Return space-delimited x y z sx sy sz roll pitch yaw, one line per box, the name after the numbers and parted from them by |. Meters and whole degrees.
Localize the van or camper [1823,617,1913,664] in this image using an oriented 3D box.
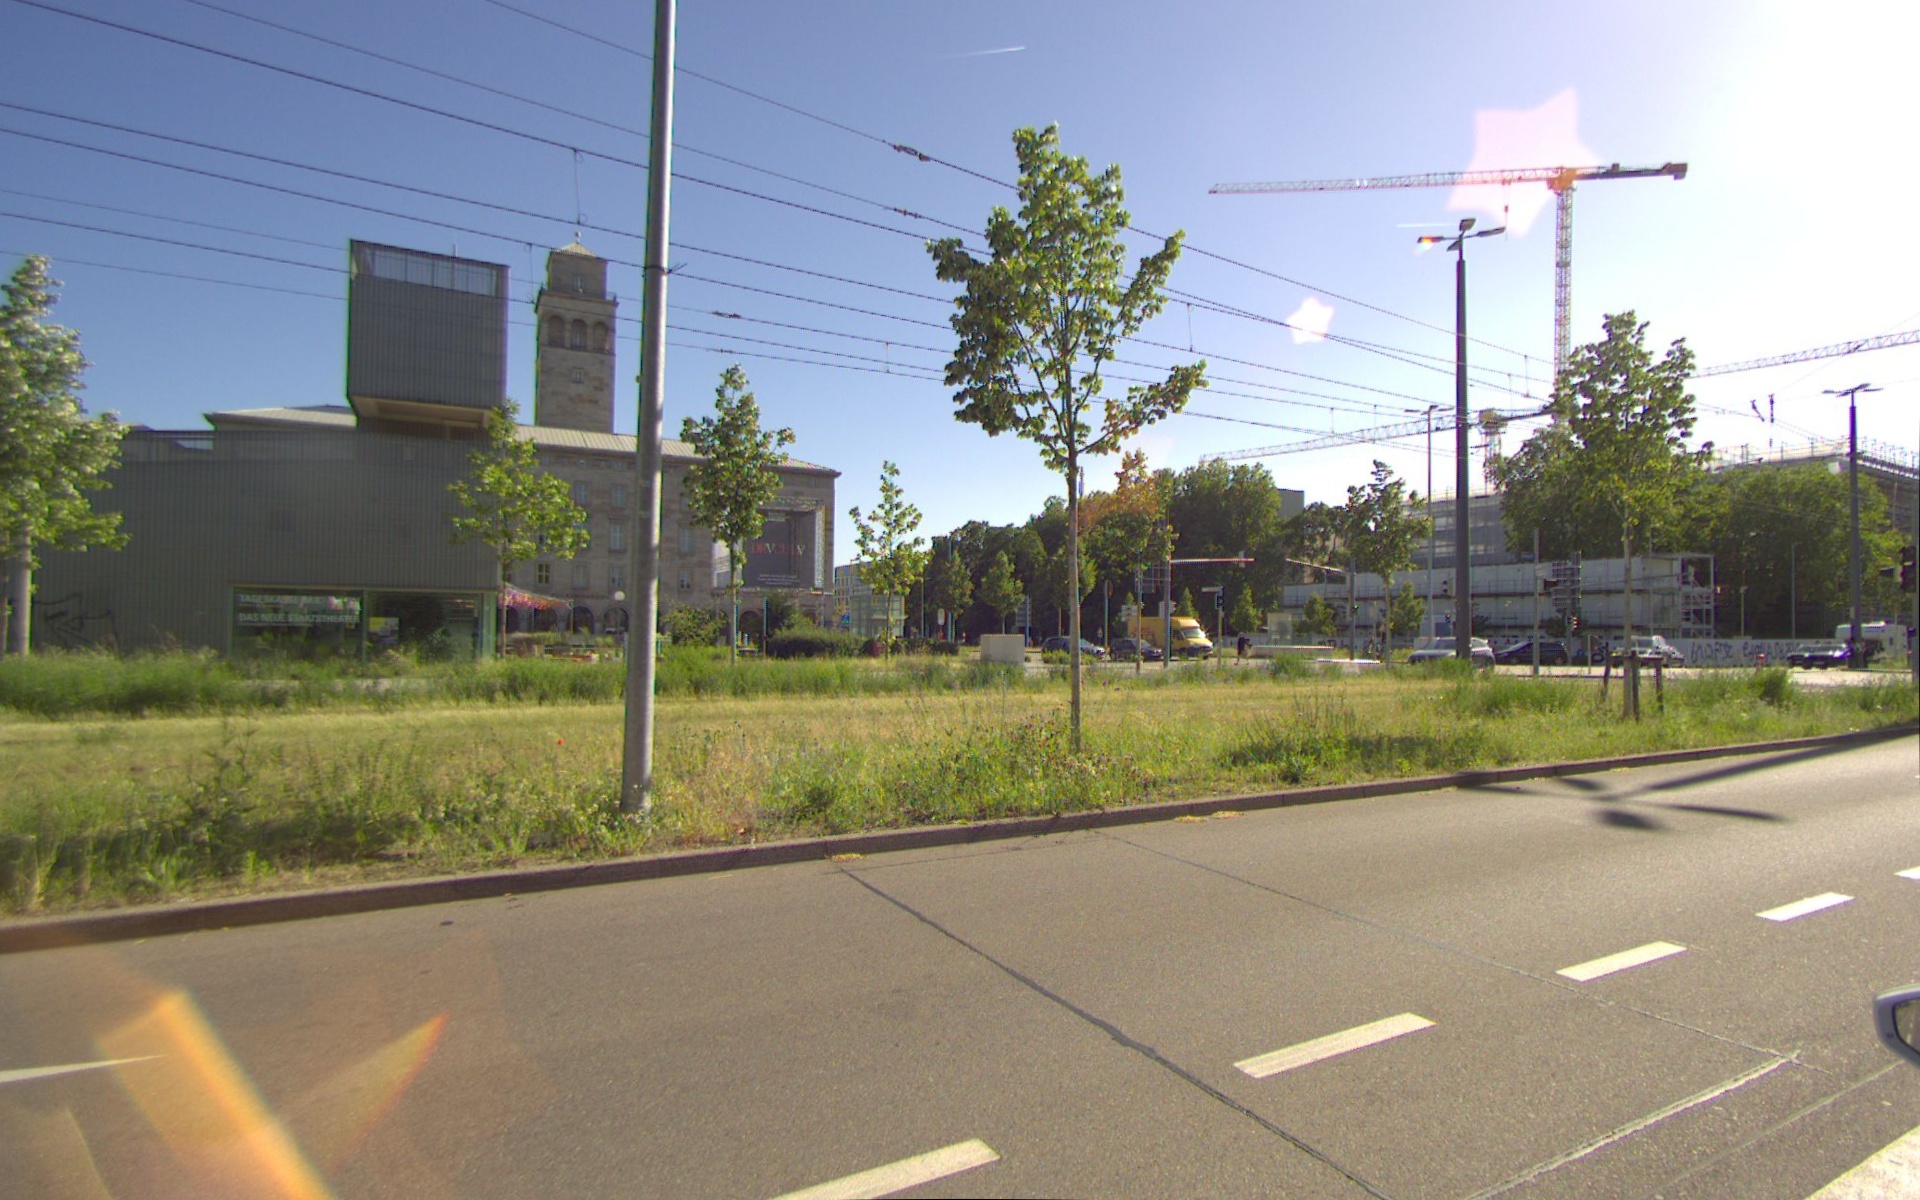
60.418 2.725 66.812 7.261 2.976 2.591 2 -2 -32 | van or camper

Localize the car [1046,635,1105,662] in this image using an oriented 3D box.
7.094 2.984 62.150 1.878 1.559 3.976 2 -2 -25 | car

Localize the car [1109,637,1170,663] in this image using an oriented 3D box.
11.399 3.165 64.067 1.878 1.559 3.976 2 -2 -25 | car

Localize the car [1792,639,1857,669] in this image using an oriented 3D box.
53.609 3.337 62.265 4.319 1.730 1.935 2 -2 -32 | car

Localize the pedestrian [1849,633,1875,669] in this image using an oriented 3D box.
47.614 2.692 53.022 0.966 1.847 0.795 1 -2 -33 | pedestrian

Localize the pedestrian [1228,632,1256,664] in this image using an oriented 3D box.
15.557 2.625 55.494 0.937 1.708 1.185 0 0 -32 | pedestrian

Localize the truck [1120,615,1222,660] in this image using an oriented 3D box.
14.030 2.458 67.576 2.429 2.829 7.985 2 -2 -25 | truck

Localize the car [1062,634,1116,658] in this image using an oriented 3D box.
8.766 3.118 68.658 1.878 1.559 3.976 2 -2 -25 | car

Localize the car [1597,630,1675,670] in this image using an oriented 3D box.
35.174 2.563 52.245 3.954 1.981 1.861 1 -2 -31 | car

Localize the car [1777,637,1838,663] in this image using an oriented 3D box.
60.575 3.567 71.805 4.507 1.730 1.984 2 -2 -31 | car

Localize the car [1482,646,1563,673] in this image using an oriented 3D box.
35.036 3.686 62.628 3.921 1.622 2.000 1 -2 0 | car

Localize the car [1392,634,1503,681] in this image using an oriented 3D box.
18.659 2.173 38.452 4.040 1.711 1.818 1 -2 -28 | car

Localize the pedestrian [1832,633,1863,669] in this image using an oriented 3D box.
46.282 2.630 52.397 0.864 1.847 0.803 0 -1 2 | pedestrian
